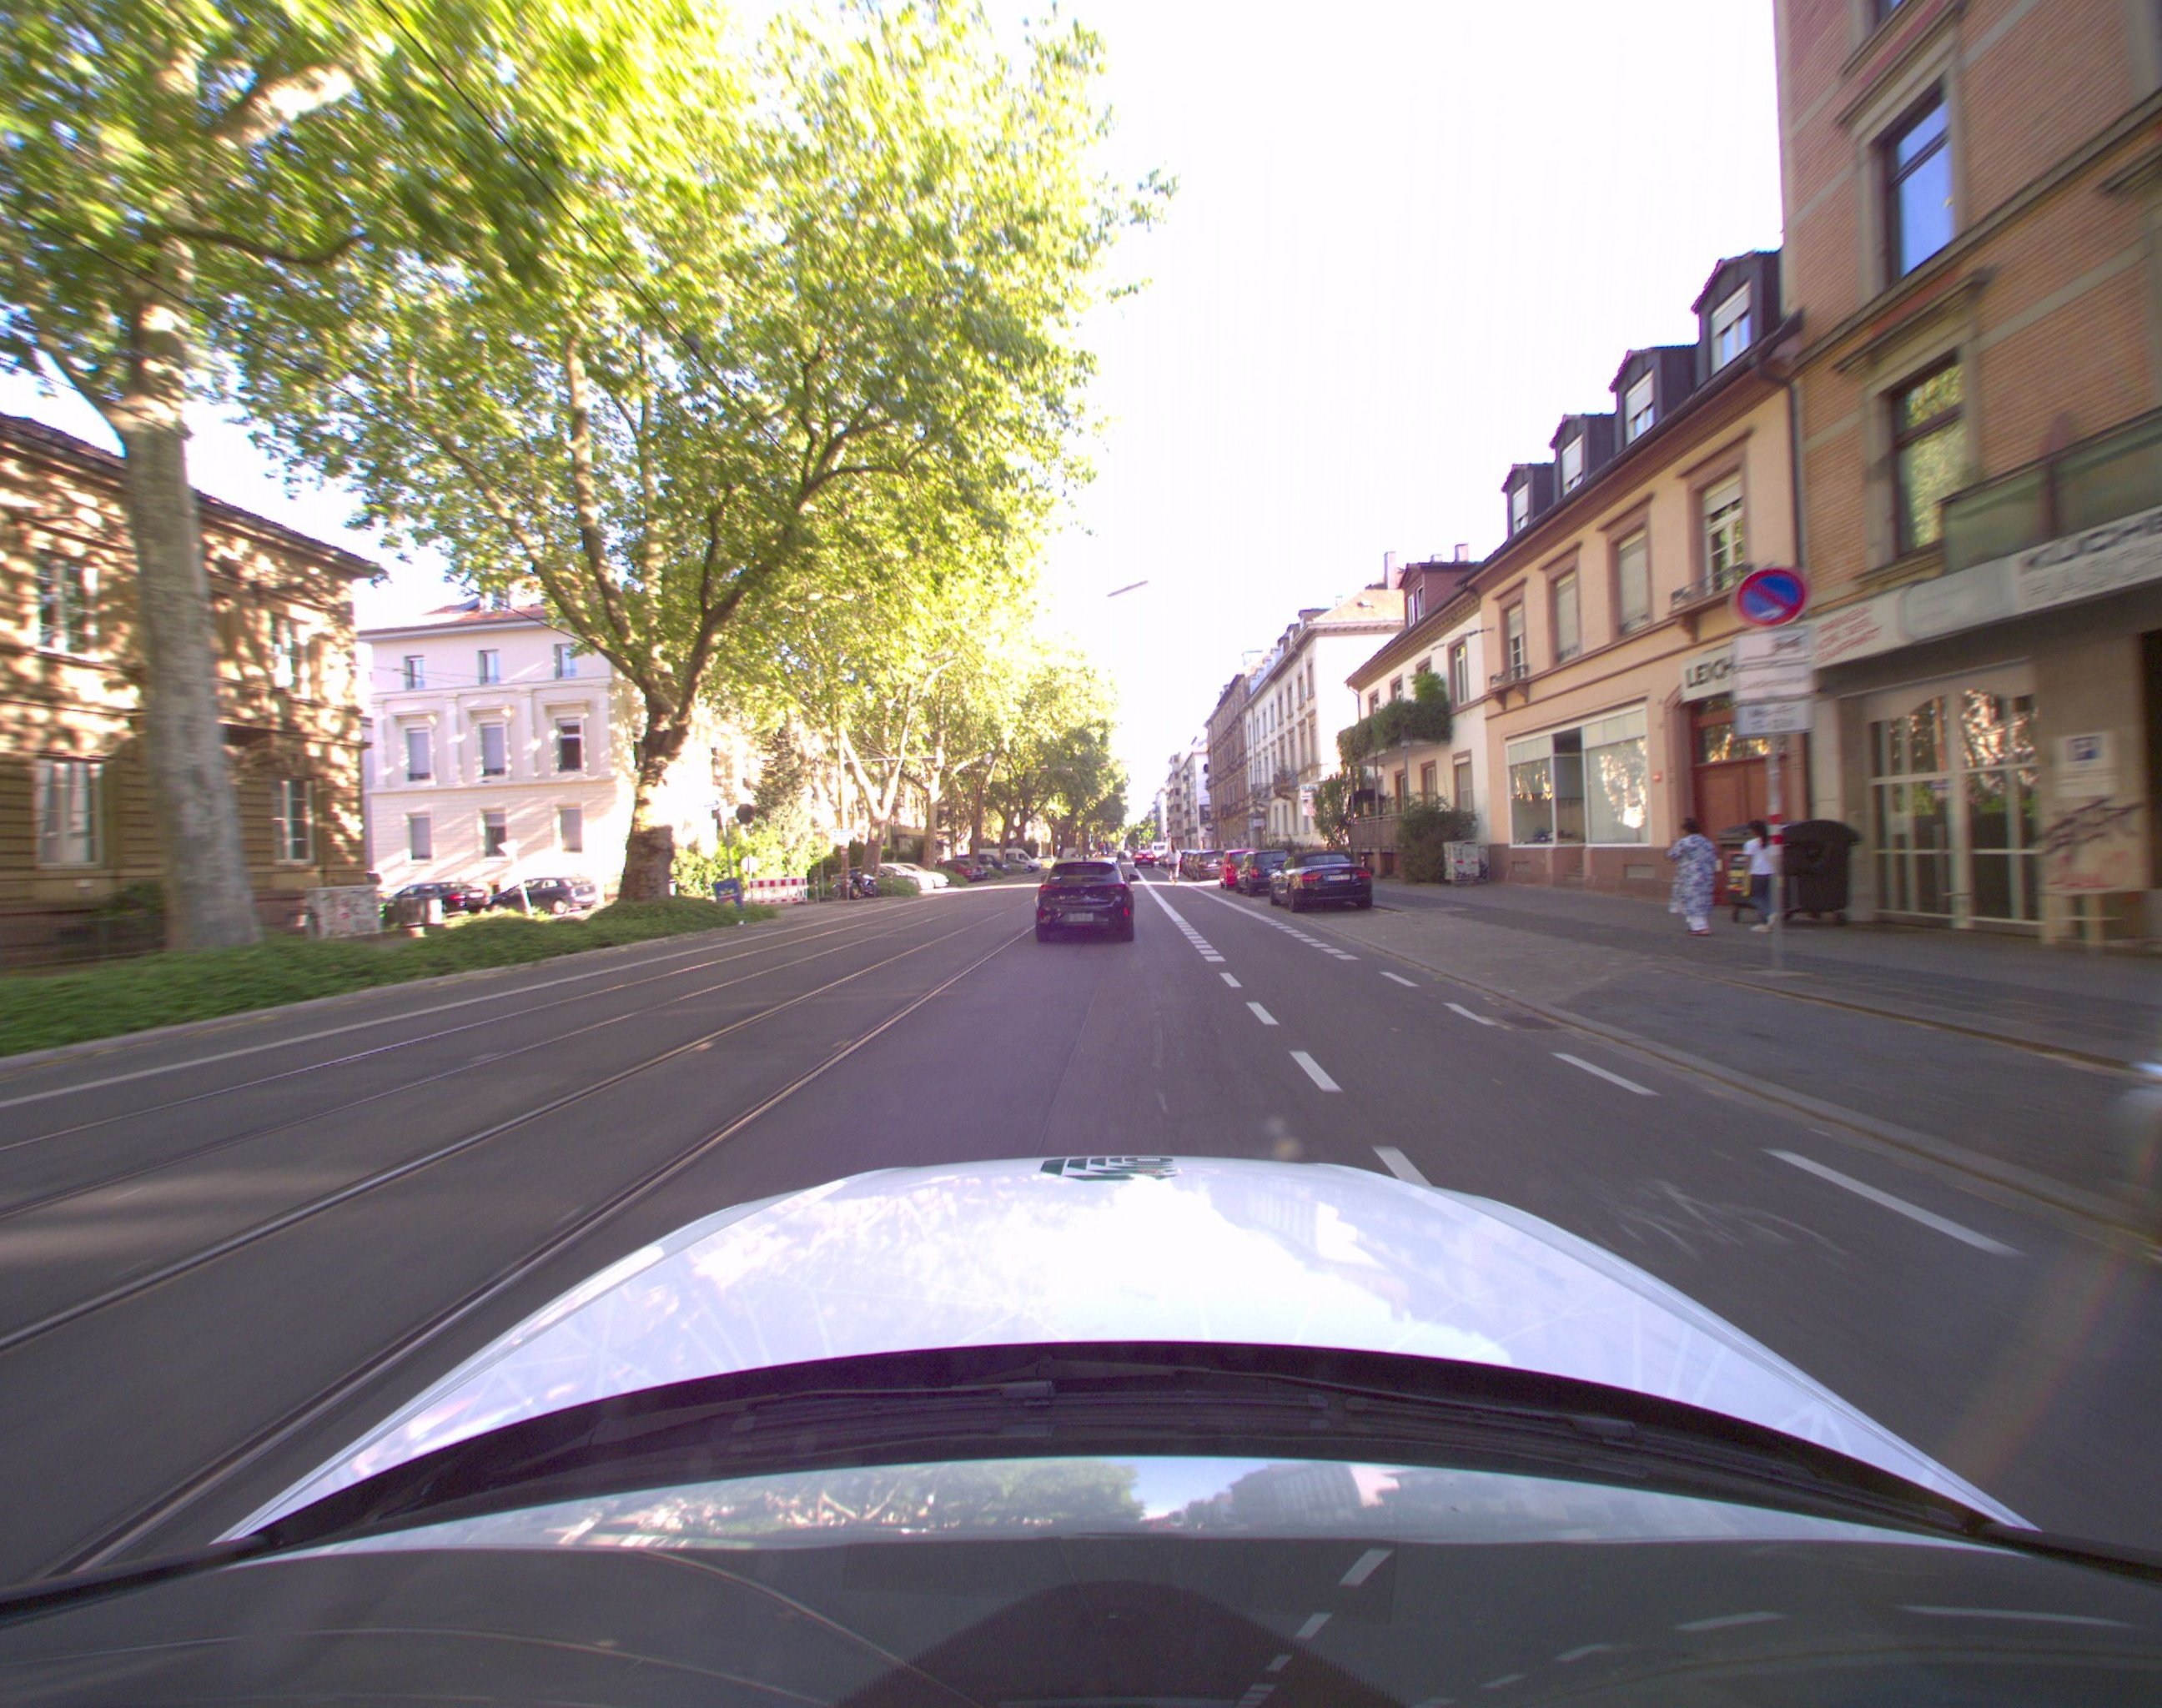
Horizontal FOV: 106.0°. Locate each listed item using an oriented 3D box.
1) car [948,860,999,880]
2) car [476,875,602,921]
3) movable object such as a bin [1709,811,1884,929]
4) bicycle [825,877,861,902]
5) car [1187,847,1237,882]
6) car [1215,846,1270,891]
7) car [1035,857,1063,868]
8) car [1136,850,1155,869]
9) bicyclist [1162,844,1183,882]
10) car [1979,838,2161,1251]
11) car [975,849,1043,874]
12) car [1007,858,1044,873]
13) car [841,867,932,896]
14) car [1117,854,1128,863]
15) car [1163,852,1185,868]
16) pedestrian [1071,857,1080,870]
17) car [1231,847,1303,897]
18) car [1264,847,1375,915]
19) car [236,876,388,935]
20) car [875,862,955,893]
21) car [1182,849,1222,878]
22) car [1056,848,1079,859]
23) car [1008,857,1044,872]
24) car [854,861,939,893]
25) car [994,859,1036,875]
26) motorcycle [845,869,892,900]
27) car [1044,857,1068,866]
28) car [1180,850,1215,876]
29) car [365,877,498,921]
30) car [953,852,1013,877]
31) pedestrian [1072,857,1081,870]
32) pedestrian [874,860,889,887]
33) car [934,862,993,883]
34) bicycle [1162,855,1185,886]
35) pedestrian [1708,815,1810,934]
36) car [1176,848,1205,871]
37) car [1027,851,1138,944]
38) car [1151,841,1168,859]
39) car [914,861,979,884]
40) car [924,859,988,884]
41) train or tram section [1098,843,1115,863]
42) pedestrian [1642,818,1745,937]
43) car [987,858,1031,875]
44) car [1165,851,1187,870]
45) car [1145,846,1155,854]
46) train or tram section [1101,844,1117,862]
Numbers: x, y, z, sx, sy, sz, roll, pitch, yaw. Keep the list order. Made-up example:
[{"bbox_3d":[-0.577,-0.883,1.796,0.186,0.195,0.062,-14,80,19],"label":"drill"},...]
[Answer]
[{"bbox_3d":[-8.558,1.262,64.868,3.719,1.498,1.748,-1,0,3],"label":"car"},{"bbox_3d":[-21.218,1.712,31.973,3.760,1.418,1.696,-3,3,3],"label":"car"},{"bbox_3d":[9.971,0.219,11.431,1.288,1.520,1.287,-2,0,3],"label":"movable object such as a bin"},{"bbox_3d":[-9.896,1.469,33.954,0.537,0.940,2.040,-2,0,11],"label":"bicycle"},{"bbox_3d":[6.912,0.537,43.280,1.874,1.586,3.932,-6,0,0],"label":"car"},{"bbox_3d":[6.258,0.542,31.958,1.627,1.546,3.580,-3,0,4],"label":"car"},{"bbox_3d":[-4.475,1.144,113.818,3.907,1.498,1.677,-1,0,0],"label":"car"},{"bbox_3d":[6.440,0.545,81.083,1.801,1.742,3.937,-3,0,4],"label":"car"},{"bbox_3d":[4.341,0.425,38.558,0.845,1.740,1.162,-2,0,2],"label":"bicyclist"},{"bbox_3d":[4.605,0.632,1.061,1.802,1.435,4.668,-4,0,3],"label":"car"},{"bbox_3d":[-7.289,0.763,82.872,6.600,2.409,2.460,-1,0,3],"label":"car"},{"bbox_3d":[-6.088,1.255,89.459,3.907,1.498,1.677,-1,0,0],"label":"car"},{"bbox_3d":[-9.470,1.322,39.782,3.903,1.332,1.849,-1,0,3],"label":"car"},{"bbox_3d":[7.157,0.776,140.693,1.801,1.338,3.937,-2,0,4],"label":"car"},{"bbox_3d":[8.749,0.564,76.673,1.802,1.338,3.937,-6,0,4],"label":"car"},{"bbox_3d":[-0.707,1.151,100.420,0.772,1.567,0.673,-2,-1,-36],"label":"pedestrian"},{"bbox_3d":[6.146,0.578,27.298,1.644,1.456,3.872,-4,0,3],"label":"car"},{"bbox_3d":[5.745,0.593,20.162,1.686,1.392,4.500,-4,0,4],"label":"car"},{"bbox_3d":[-31.370,2.063,33.298,4.382,2.002,2.020,-3,3,7],"label":"car"},{"bbox_3d":[-9.175,1.289,45.188,3.903,1.462,1.807,-2,0,3],"label":"car"},{"bbox_3d":[7.048,0.549,47.825,1.792,1.456,3.770,-6,0,2],"label":"car"},{"bbox_3d":[-2.418,-0.079,144.245,3.907,1.790,1.677,-1,0,0],"label":"car"},{"bbox_3d":[-6.156,1.198,91.928,3.907,1.577,1.677,-1,0,0],"label":"car"},{"bbox_3d":[-9.560,1.197,42.386,3.905,1.453,1.801,-2,0,2],"label":"car"},{"bbox_3d":[-6.506,1.242,80.423,3.905,1.498,1.678,-1,0,1],"label":"car"},{"bbox_3d":[-8.811,1.253,33.892,0.879,1.147,2.398,-2,0,11],"label":"motorcycle"},{"bbox_3d":[-4.186,1.222,134.908,3.907,1.498,1.677,-1,0,0],"label":"car"},{"bbox_3d":[7.487,0.538,52.777,1.872,1.456,4.030,-6,0,4],"label":"car"},{"bbox_3d":[-25.786,1.761,32.419,3.902,1.418,1.696,-3,2,3],"label":"car"},{"bbox_3d":[-8.122,0.877,67.679,4.654,1.924,1.982,-1,0,4],"label":"car"},{"bbox_3d":[-0.539,1.148,101.229,0.772,1.567,0.673,-2,-1,-36],"label":"pedestrian"},{"bbox_3d":[-14.317,1.398,58.362,0.863,1.849,0.836,-2,0,-4],"label":"pedestrian"},{"bbox_3d":[-8.406,1.291,58.351,3.905,1.421,1.819,-1,0,1],"label":"car"},{"bbox_3d":[4.355,0.765,38.534,0.857,1.407,2.525,-2,0,2],"label":"bicycle"},{"bbox_3d":[8.917,0.258,10.736,0.655,1.483,0.786,-2,0,2],"label":"pedestrian"},{"bbox_3d":[7.853,0.383,58.790,1.703,1.483,3.768,-6,0,4],"label":"car"},{"bbox_3d":[0.111,0.712,15.178,1.786,1.441,3.534,-2,1,3],"label":"car"},{"bbox_3d":[10.577,-0.550,109.950,2.066,2.219,4.939,-6,0,4],"label":"car"},{"bbox_3d":[-8.862,1.225,53.713,3.903,1.442,1.750,-1,0,3],"label":"car"},{"bbox_3d":[-8.537,1.175,55.949,3.978,1.627,1.881,-1,0,3],"label":"car"},{"bbox_3d":[5.316,-0.175,168.164,2.722,3.681,12.731,-3,0,4],"label":"train or tram section"},{"bbox_3d":[8.231,0.306,10.978,0.657,1.505,0.867,-3,0,2],"label":"pedestrian"},{"bbox_3d":[-6.766,1.200,77.174,3.902,1.498,1.679,-1,0,4],"label":"car"},{"bbox_3d":[8.449,0.543,72.376,1.696,1.456,3.704,-6,0,6],"label":"car"},{"bbox_3d":[13.544,-0.745,160.309,1.802,1.338,3.937,-6,0,4],"label":"car"},{"bbox_3d":[6.281,-0.147,180.958,2.722,3.681,12.731,-3,0,4],"label":"train or tram section"}]
